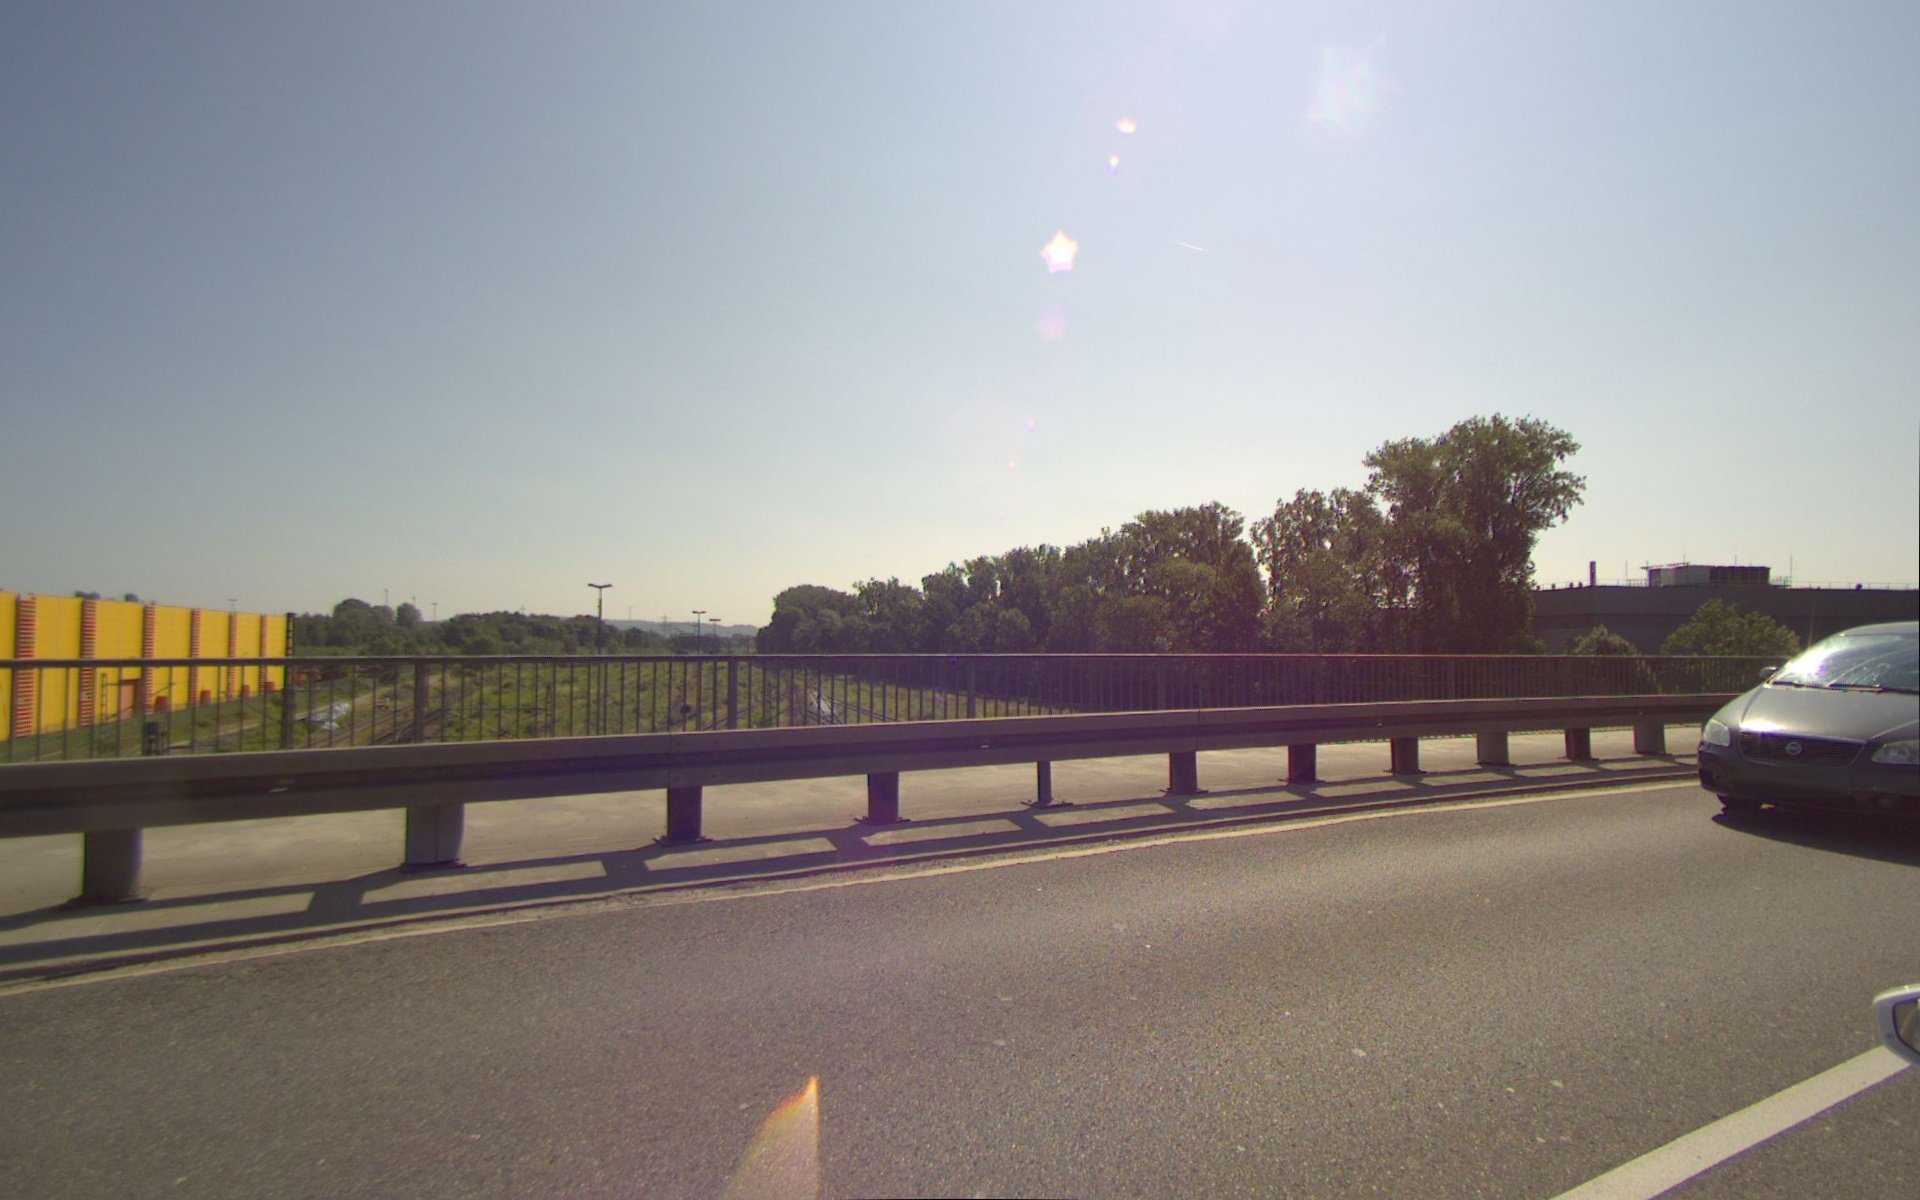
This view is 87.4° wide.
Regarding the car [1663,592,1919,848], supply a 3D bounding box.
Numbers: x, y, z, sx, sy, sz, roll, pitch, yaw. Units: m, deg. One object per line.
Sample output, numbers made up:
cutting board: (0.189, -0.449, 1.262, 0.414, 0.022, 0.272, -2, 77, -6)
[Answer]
car: (7.876, 0.817, 8.163, 4.247, 1.647, 1.726, 1, 1, -27)
